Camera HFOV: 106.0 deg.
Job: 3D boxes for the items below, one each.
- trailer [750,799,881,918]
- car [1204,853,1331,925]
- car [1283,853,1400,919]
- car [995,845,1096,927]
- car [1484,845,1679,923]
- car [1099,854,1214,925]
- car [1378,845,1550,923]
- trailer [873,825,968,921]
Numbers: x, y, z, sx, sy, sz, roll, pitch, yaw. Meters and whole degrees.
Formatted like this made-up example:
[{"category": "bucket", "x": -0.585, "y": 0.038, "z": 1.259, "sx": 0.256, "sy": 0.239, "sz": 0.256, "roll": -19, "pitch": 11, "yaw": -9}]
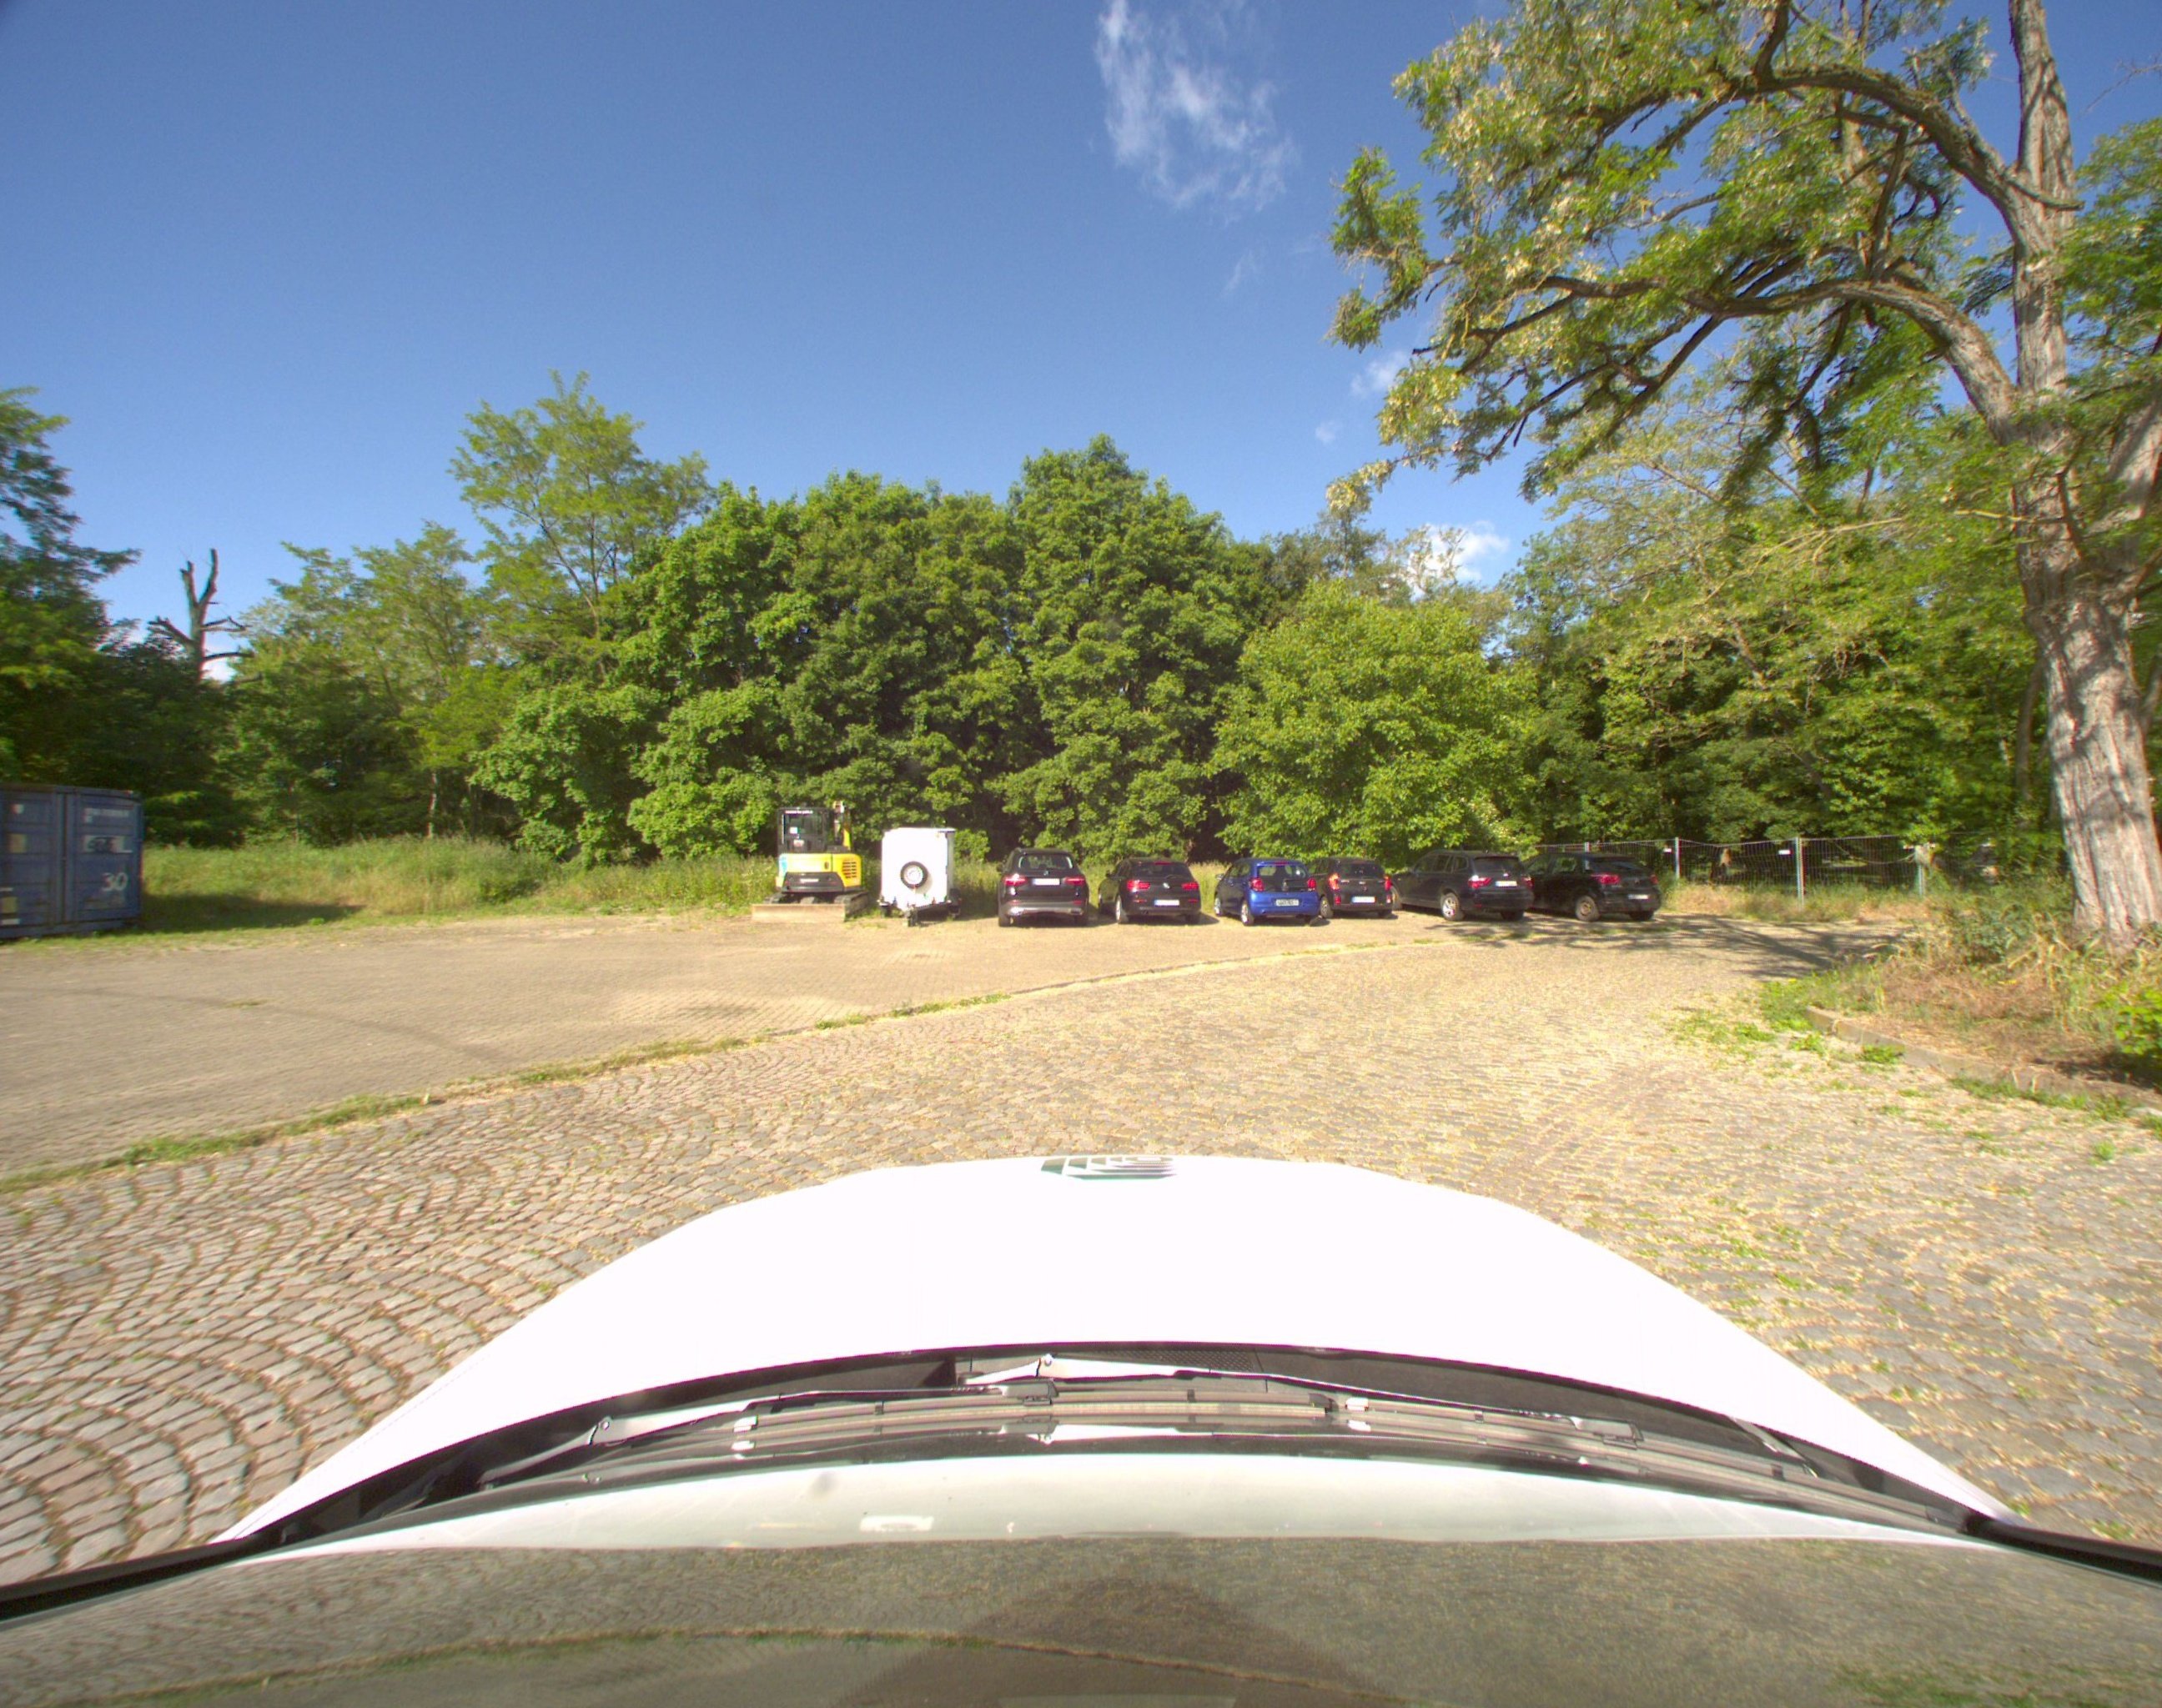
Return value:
[{"category": "trailer", "x": -6.014, "y": 0.036, "z": 18.822, "sx": 2.255, "sy": 2.538, "sz": 2.846, "roll": 1, "pitch": 3, "yaw": -5}, {"category": "car", "x": 4.203, "y": 0.738, "z": 18.963, "sx": 1.777, "sy": 1.458, "sz": 3.783, "roll": 1, "pitch": 1, "yaw": -5}, {"category": "car", "x": 6.458, "y": 0.729, "z": 20.600, "sx": 1.733, "sy": 1.451, "sz": 3.723, "roll": 1, "pitch": 1, "yaw": -1}, {"category": "car", "x": -0.905, "y": 0.613, "z": 18.122, "sx": 1.962, "sy": 1.589, "sz": 4.122, "roll": 1, "pitch": 1, "yaw": -6}, {"category": "car", "x": 12.450, "y": 0.650, "z": 20.635, "sx": 1.824, "sy": 1.589, "sz": 4.258, "roll": -1, "pitch": 3, "yaw": -11}, {"category": "car", "x": 1.603, "y": 0.733, "z": 18.572, "sx": 1.887, "sy": 1.411, "sz": 3.782, "roll": 1, "pitch": 1, "yaw": -6}, {"category": "car", "x": 9.360, "y": 0.643, "z": 20.360, "sx": 1.873, "sy": 1.630, "sz": 4.262, "roll": 1, "pitch": 2, "yaw": -8}, {"category": "trailer", "x": -3.629, "y": 0.393, "z": 18.859, "sx": 1.815, "sy": 2.050, "sz": 2.845, "roll": 1, "pitch": 0, "yaw": -5}]
